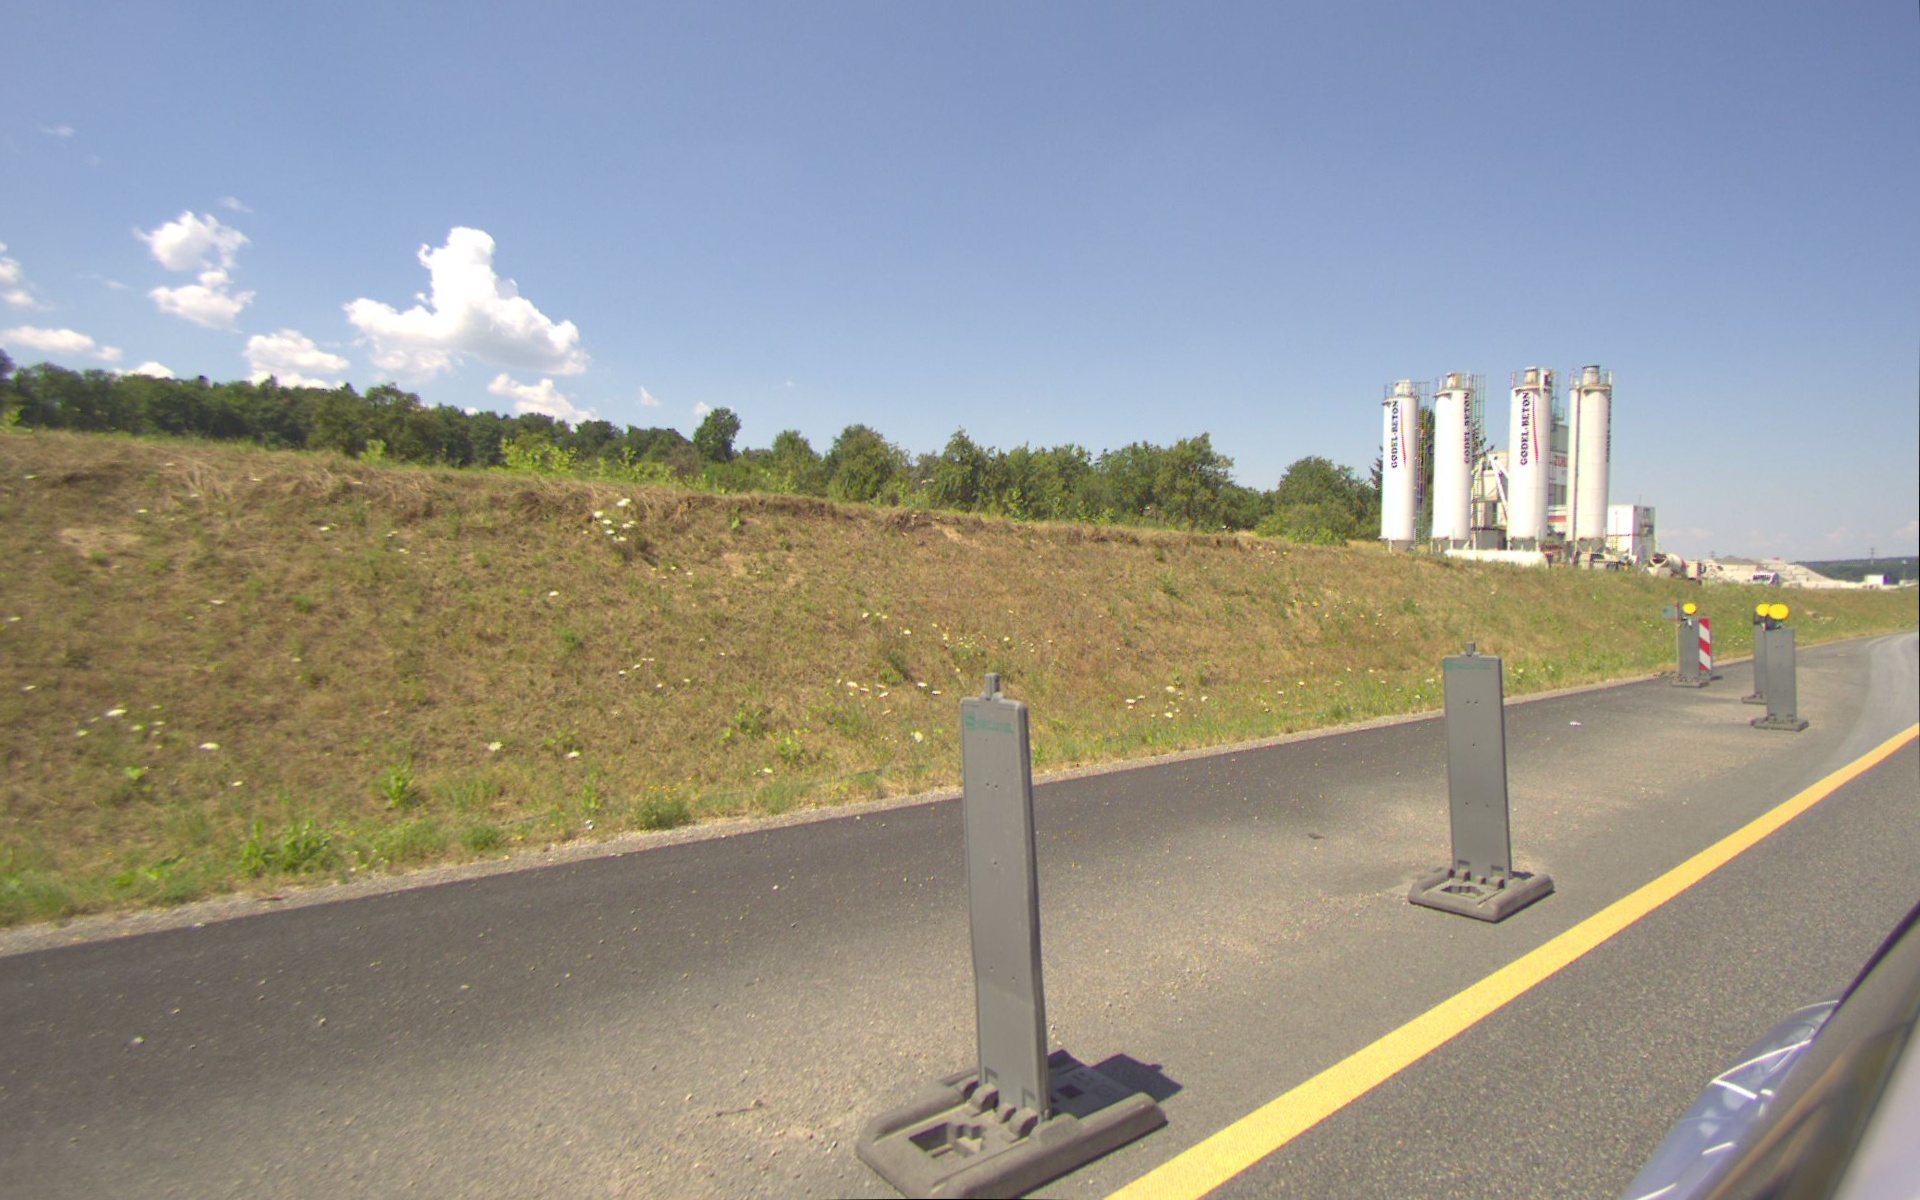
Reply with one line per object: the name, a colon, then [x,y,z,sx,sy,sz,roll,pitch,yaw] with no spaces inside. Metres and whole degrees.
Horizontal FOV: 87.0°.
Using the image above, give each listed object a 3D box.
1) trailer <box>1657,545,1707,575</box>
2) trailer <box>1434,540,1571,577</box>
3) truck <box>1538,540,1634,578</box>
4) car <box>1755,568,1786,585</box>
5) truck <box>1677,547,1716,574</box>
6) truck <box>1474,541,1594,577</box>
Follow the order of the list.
trailer: [68.912,-3.789,96.573,6.808,2.677,1.999,-1,0,-37]
trailer: [40.902,-3.056,76.602,2.423,2.639,8.904,-1,1,-43]
truck: [45.351,-2.931,73.506,5.228,2.576,2.893,0,0,14]
car: [88.481,-2.575,110.443,3.539,1.785,1.989,-1,0,-41]
truck: [72.008,-3.833,98.948,3.966,2.577,2.022,-1,0,-37]
truck: [50.503,-3.528,89.356,2.412,2.904,9.103,-1,0,-34]
